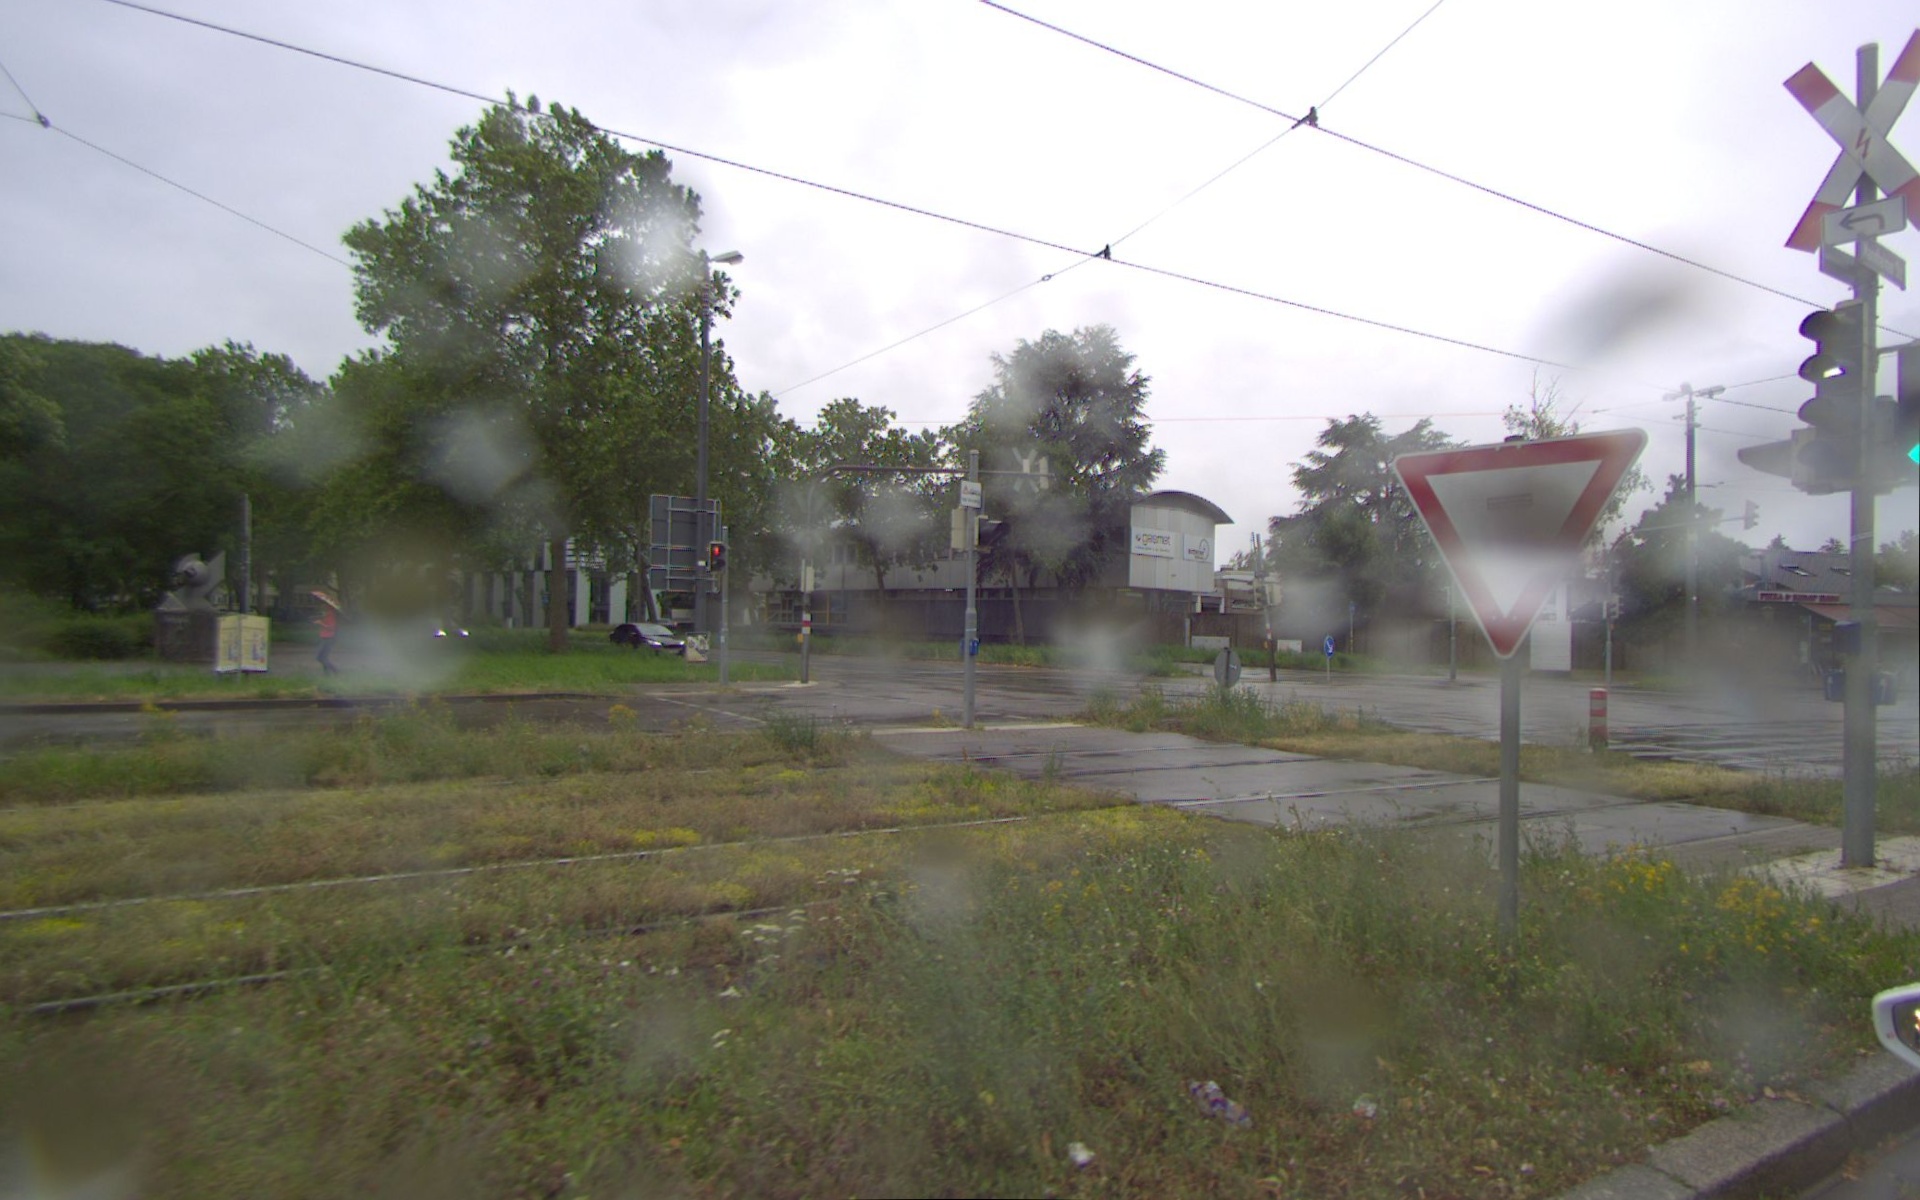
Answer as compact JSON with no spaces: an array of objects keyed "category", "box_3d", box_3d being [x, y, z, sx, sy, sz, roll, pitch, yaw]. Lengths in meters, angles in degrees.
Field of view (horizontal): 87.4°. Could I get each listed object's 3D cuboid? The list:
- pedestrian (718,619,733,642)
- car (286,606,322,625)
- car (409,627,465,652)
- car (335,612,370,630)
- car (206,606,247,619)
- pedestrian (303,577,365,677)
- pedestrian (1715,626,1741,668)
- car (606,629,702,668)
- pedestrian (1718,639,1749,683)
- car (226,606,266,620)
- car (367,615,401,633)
[{"category":"pedestrian","box_3d":[-18.152,2.356,77.762,0.812,1.690,0.670,2,0,39]},{"category":"car","box_3d":[-77.852,1.846,119.127,3.931,2.116,2.123,2,0,33]},{"category":"car","box_3d":[-30.632,2.322,58.790,1.792,1.425,4.404,3,-3,-42]},{"category":"car","box_3d":[-68.189,2.338,112.721,3.934,1.806,1.994,2,0,35]},{"category":"car","box_3d":[-95.902,1.670,131.420,1.851,1.513,3.879,2,0,22]},{"category":"pedestrian","box_3d":[-13.061,0.564,20.942,0.998,2.017,0.944,2,0,-35]},{"category":"pedestrian","box_3d":[38.885,2.381,50.861,0.716,2.040,0.789,2,0,-25]},{"category":"car","box_3d":[-12.345,1.924,40.373,4.252,1.420,1.795,-1,-1,42]},{"category":"pedestrian","box_3d":[33.069,2.578,42.919,0.876,1.821,0.721,1,1,-30]},{"category":"car","box_3d":[-92.416,1.723,130.046,1.853,1.673,3.875,2,0,28]},{"category":"car","box_3d":[-62.346,2.605,108.708,3.940,1.806,1.991,2,0,40]}]
